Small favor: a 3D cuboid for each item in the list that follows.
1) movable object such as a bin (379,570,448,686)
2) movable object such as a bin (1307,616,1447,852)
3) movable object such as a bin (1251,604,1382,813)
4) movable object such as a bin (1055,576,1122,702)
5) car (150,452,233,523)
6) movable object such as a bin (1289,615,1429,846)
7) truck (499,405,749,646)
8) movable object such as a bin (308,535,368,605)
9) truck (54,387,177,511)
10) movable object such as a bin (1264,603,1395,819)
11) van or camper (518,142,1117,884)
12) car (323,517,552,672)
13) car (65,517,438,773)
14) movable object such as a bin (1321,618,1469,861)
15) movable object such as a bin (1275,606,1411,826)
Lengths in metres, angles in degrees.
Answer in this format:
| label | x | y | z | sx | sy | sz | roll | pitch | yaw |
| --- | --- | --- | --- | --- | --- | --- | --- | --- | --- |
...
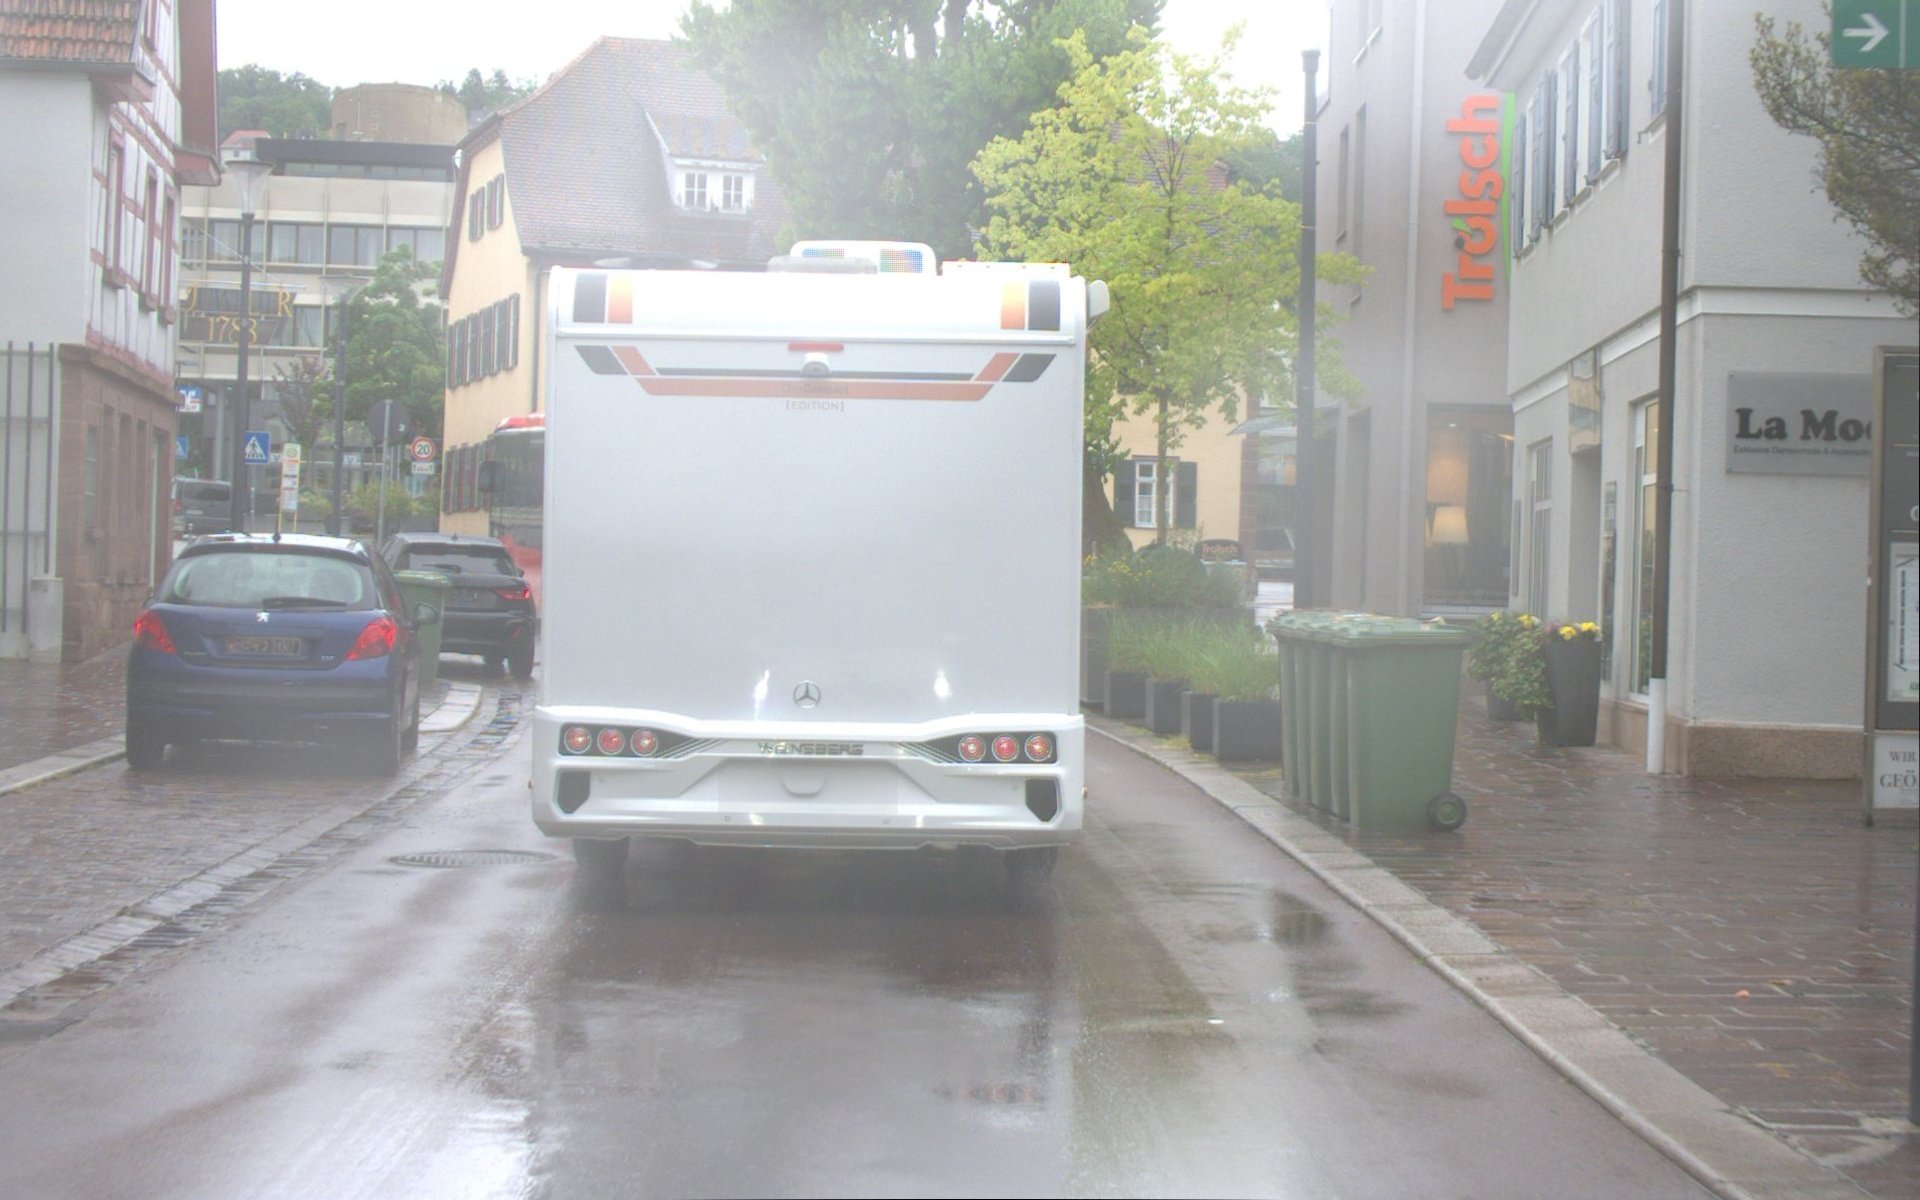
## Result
| label | x | y | z | sx | sy | sz | roll | pitch | yaw |
| --- | --- | --- | --- | --- | --- | --- | --- | --- | --- |
| movable object such as a bin | -5.323 | 0.269 | 33.502 | 0.630 | 1.109 | 0.734 | 1 | 0 | -9 |
| movable object such as a bin | 2.249 | 0.717 | 18.585 | 0.658 | 1.241 | 0.543 | 1 | 0 | -1 |
| movable object such as a bin | 2.163 | 0.652 | 20.933 | 0.678 | 1.236 | 0.731 | 1 | 0 | -1 |
| movable object such as a bin | 1.198 | 0.363 | 32.174 | 0.543 | 1.152 | 0.577 | 1 | 0 | -4 |
| car | -23.553 | -3.436 | 105.301 | 1.993 | 2.007 | 4.001 | 1 | 0 | -19 |
| movable object such as a bin | 2.215 | 0.715 | 19.139 | 0.678 | 1.252 | 0.543 | 1 | 0 | -1 |
| truck | -4.567 | -0.923 | 45.700 | 2.461 | 2.929 | 6.200 | 1 | 0 | -13 |
| movable object such as a bin | -9.559 | -0.453 | 52.862 | 0.818 | 1.047 | 0.700 | 1 | 0 | -16 |
| truck | -20.678 | -3.643 | 84.026 | 2.279 | 2.748 | 5.570 | 1 | 0 | -20 |
| movable object such as a bin | 2.175 | 0.647 | 20.279 | 0.678 | 1.246 | 0.565 | 1 | 0 | -1 |
| van or camper | -0.758 | -0.342 | 16.914 | 2.325 | 2.909 | 6.394 | 1 | 0 | -4 |
| car | -5.763 | -0.095 | 37.540 | 1.993 | 1.489 | 4.002 | 3 | 1 | -15 |
| car | -4.560 | 0.233 | 22.672 | 1.993 | 1.467 | 4.001 | 2 | 1 | -6 |
| movable object such as a bin | 2.271 | 0.718 | 17.998 | 0.658 | 1.234 | 0.621 | 1 | 0 | -1 |
| movable object such as a bin | 2.191 | 0.654 | 19.703 | 0.678 | 1.228 | 0.565 | 1 | 0 | -1 |
